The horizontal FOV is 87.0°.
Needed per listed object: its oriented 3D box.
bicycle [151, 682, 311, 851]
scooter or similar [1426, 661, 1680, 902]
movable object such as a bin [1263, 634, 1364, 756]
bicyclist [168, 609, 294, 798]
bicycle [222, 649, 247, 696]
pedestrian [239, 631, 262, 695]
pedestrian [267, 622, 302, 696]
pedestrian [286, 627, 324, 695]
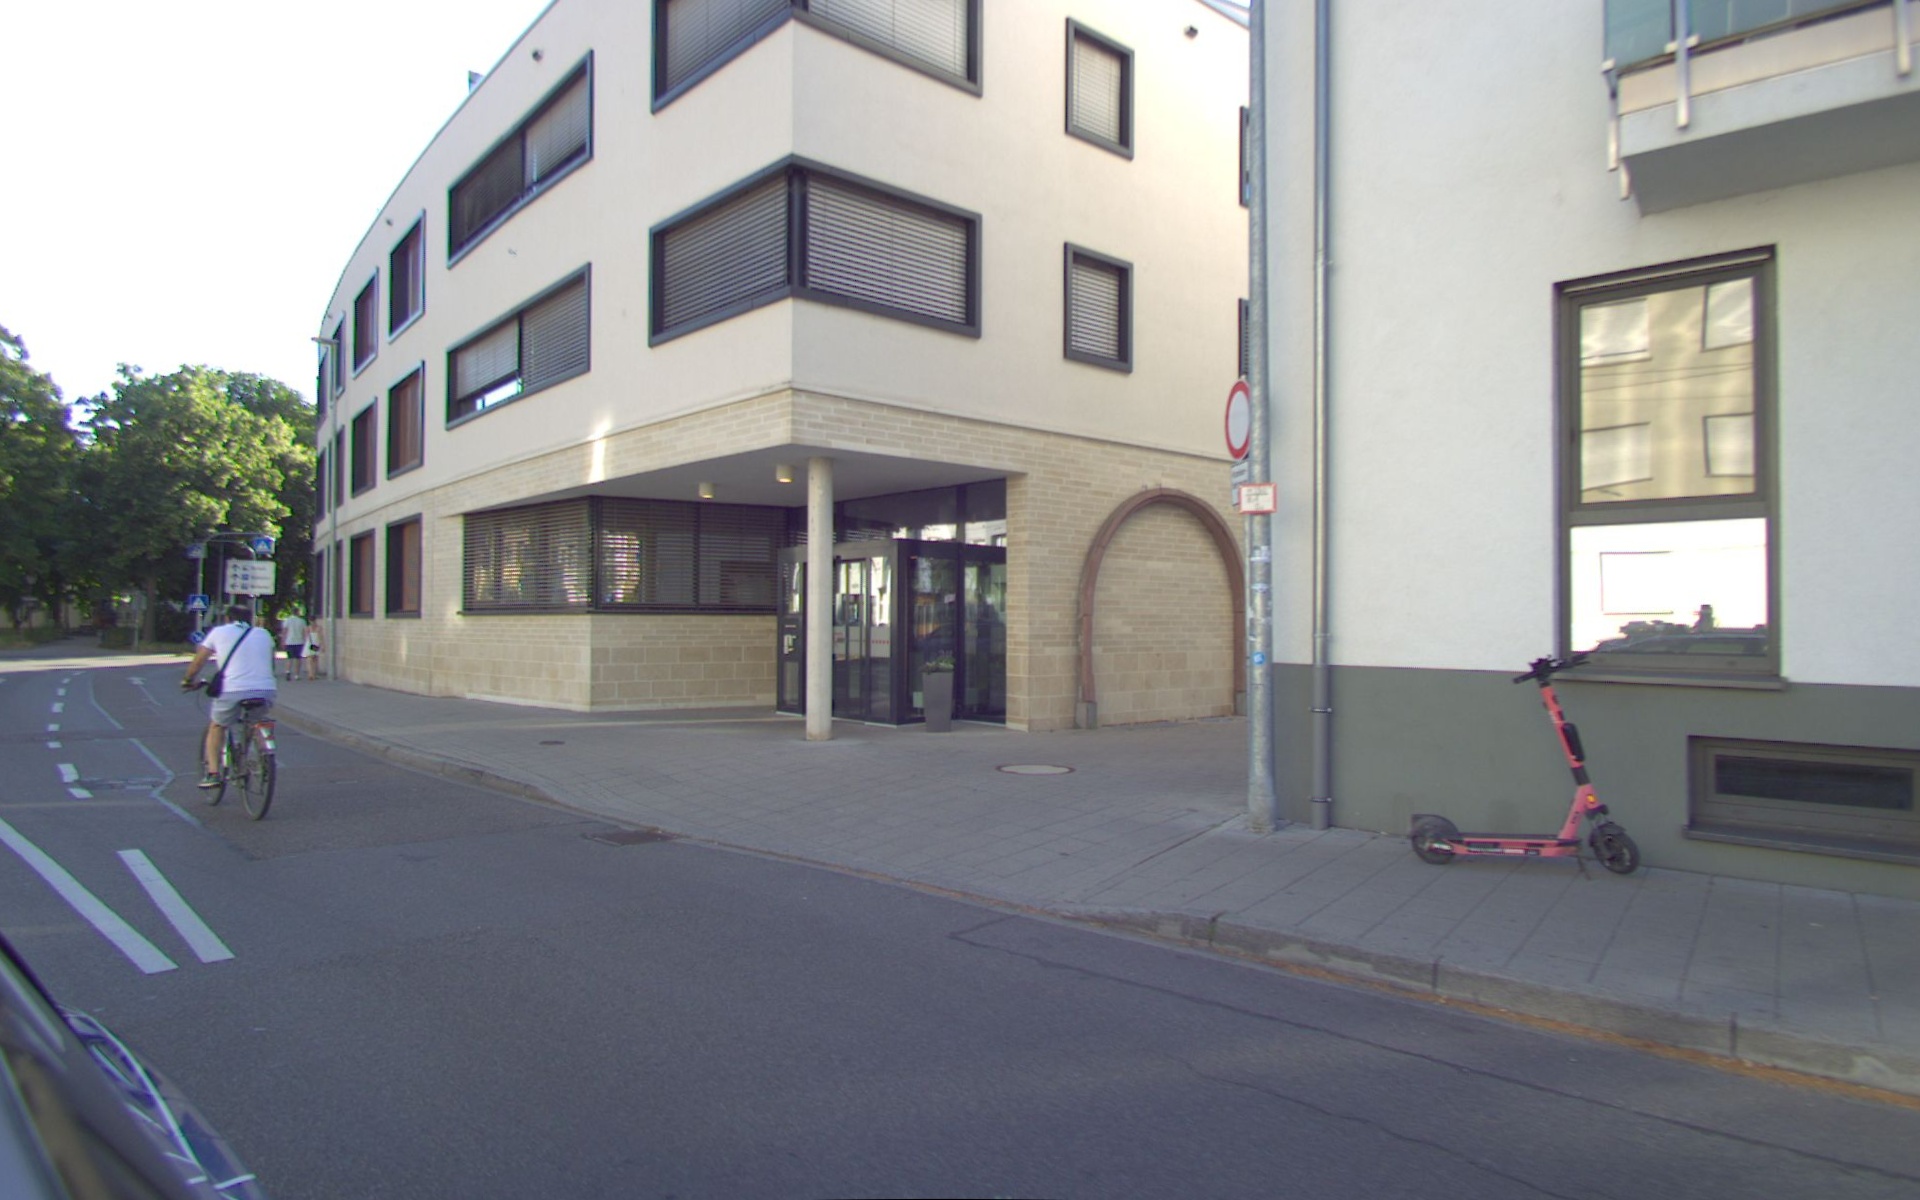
[{"bbox_3d":[-5.786,1.243,7.993,1.782,1.089,0.616,-1,-2,41],"label":"bicycle"},{"bbox_3d":[3.235,0.963,5.594,1.149,1.229,0.223,-2,-1,26],"label":"scooter or similar"},{"bbox_3d":[2.848,0.745,8.174,0.540,0.908,0.532,-1,0,-27],"label":"movable object such as a bin"},{"bbox_3d":[-5.753,0.775,7.985,0.800,1.390,0.616,-1,-2,41],"label":"bicyclist"},{"bbox_3d":[-19.173,1.892,26.738,0.434,1.187,1.970,0,-2,-38],"label":"bicycle"},{"bbox_3d":[-18.757,1.660,26.771,0.467,1.660,0.604,0,-2,-32],"label":"pedestrian"},{"bbox_3d":[-17.595,1.508,26.341,0.598,1.863,0.994,0,0,-43],"label":"pedestrian"},{"bbox_3d":[-17.260,1.591,26.653,0.694,1.727,0.844,0,0,-43],"label":"pedestrian"}]
